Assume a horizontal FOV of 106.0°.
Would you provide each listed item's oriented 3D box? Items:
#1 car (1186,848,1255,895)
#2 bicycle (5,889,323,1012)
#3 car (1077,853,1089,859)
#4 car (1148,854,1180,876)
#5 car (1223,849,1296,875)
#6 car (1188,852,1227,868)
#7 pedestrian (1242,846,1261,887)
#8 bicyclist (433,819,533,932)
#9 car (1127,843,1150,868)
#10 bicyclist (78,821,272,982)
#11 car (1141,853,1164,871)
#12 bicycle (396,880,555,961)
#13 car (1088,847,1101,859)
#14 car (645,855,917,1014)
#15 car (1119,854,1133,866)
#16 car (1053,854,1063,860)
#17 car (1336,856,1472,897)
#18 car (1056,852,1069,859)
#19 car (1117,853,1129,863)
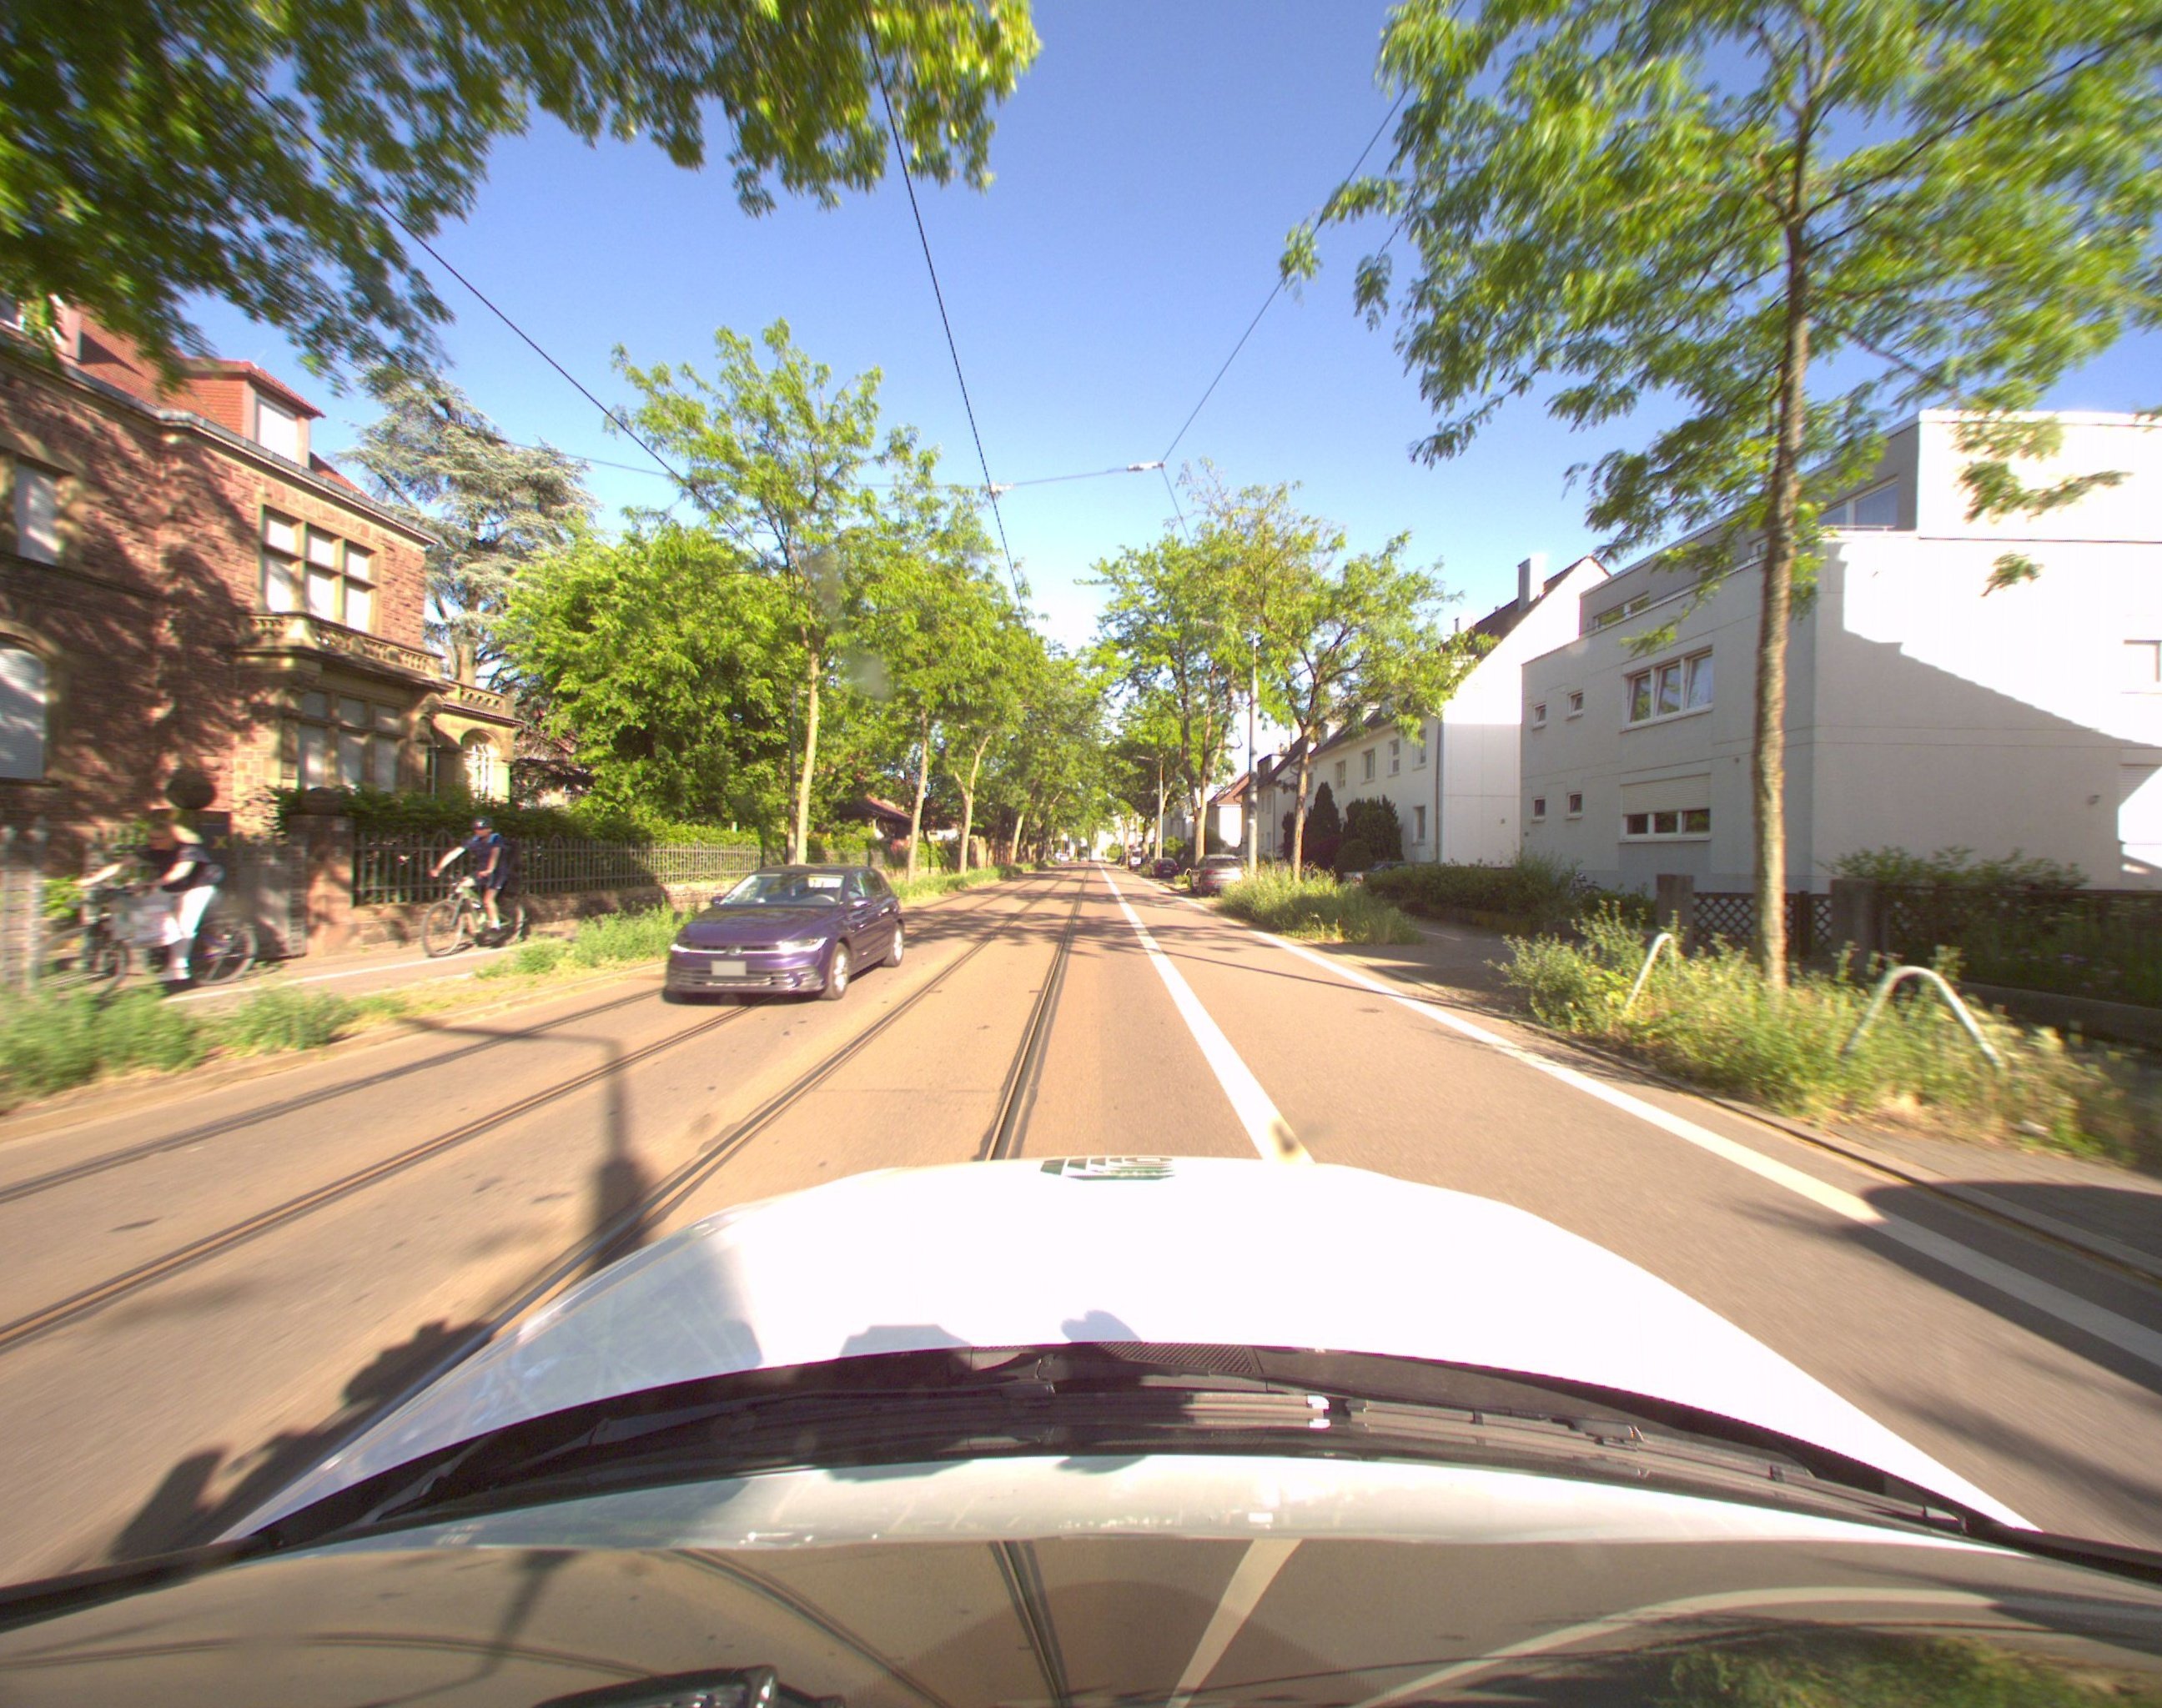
[{"bbox_3d":[5.584,0.650,33.198,1.987,1.704,4.476,-2,0,0],"label":"car"},{"bbox_3d":[-8.840,0.872,8.031,0.708,0.960,2.095,0,0,2],"label":"bicycle"},{"bbox_3d":[0.464,0.470,194.300,2.004,1.560,4.375,0,0,-12],"label":"car"},{"bbox_3d":[6.071,0.781,59.802,1.779,1.448,4.299,-2,0,-1],"label":"car"},{"bbox_3d":[11.584,0.511,53.121,4.403,1.489,1.860,-2,0,3],"label":"car"},{"bbox_3d":[12.280,0.580,79.175,3.400,1.436,1.727,-1,0,-13],"label":"car"},{"bbox_3d":[7.849,0.574,37.493,0.623,1.870,0.732,-2,0,0],"label":"pedestrian"},{"bbox_3d":[-8.474,0.287,11.585,0.591,1.527,1.061,0,0,2],"label":"bicyclist"},{"bbox_3d":[6.400,0.160,90.903,2.238,2.654,5.585,-1,0,1],"label":"car"},{"bbox_3d":[-8.839,0.437,7.998,0.705,1.470,1.042,0,0,2],"label":"bicyclist"},{"bbox_3d":[6.046,0.686,69.419,1.621,1.397,3.645,-2,0,0],"label":"car"},{"bbox_3d":[-8.482,0.889,11.551,0.587,0.960,2.133,0,0,2],"label":"bicycle"},{"bbox_3d":[2.864,-0.241,176.578,1.995,2.458,4.490,0,0,-12],"label":"car"},{"bbox_3d":[-3.342,0.788,9.997,1.742,1.524,4.070,1,0,1],"label":"car"},{"bbox_3d":[6.773,0.852,122.993,1.996,1.675,4.392,-1,0,1],"label":"car"},{"bbox_3d":[-6.962,0.855,244.144,2.008,1.910,4.367,-1,0,-17],"label":"car"},{"bbox_3d":[11.226,0.766,28.482,4.037,1.342,1.877,0,0,0],"label":"car"},{"bbox_3d":[-4.194,0.342,186.392,1.870,1.675,4.149,0,0,-17],"label":"car"},{"bbox_3d":[7.267,0.724,140.473,1.993,1.675,4.398,-1,0,5],"label":"car"}]
